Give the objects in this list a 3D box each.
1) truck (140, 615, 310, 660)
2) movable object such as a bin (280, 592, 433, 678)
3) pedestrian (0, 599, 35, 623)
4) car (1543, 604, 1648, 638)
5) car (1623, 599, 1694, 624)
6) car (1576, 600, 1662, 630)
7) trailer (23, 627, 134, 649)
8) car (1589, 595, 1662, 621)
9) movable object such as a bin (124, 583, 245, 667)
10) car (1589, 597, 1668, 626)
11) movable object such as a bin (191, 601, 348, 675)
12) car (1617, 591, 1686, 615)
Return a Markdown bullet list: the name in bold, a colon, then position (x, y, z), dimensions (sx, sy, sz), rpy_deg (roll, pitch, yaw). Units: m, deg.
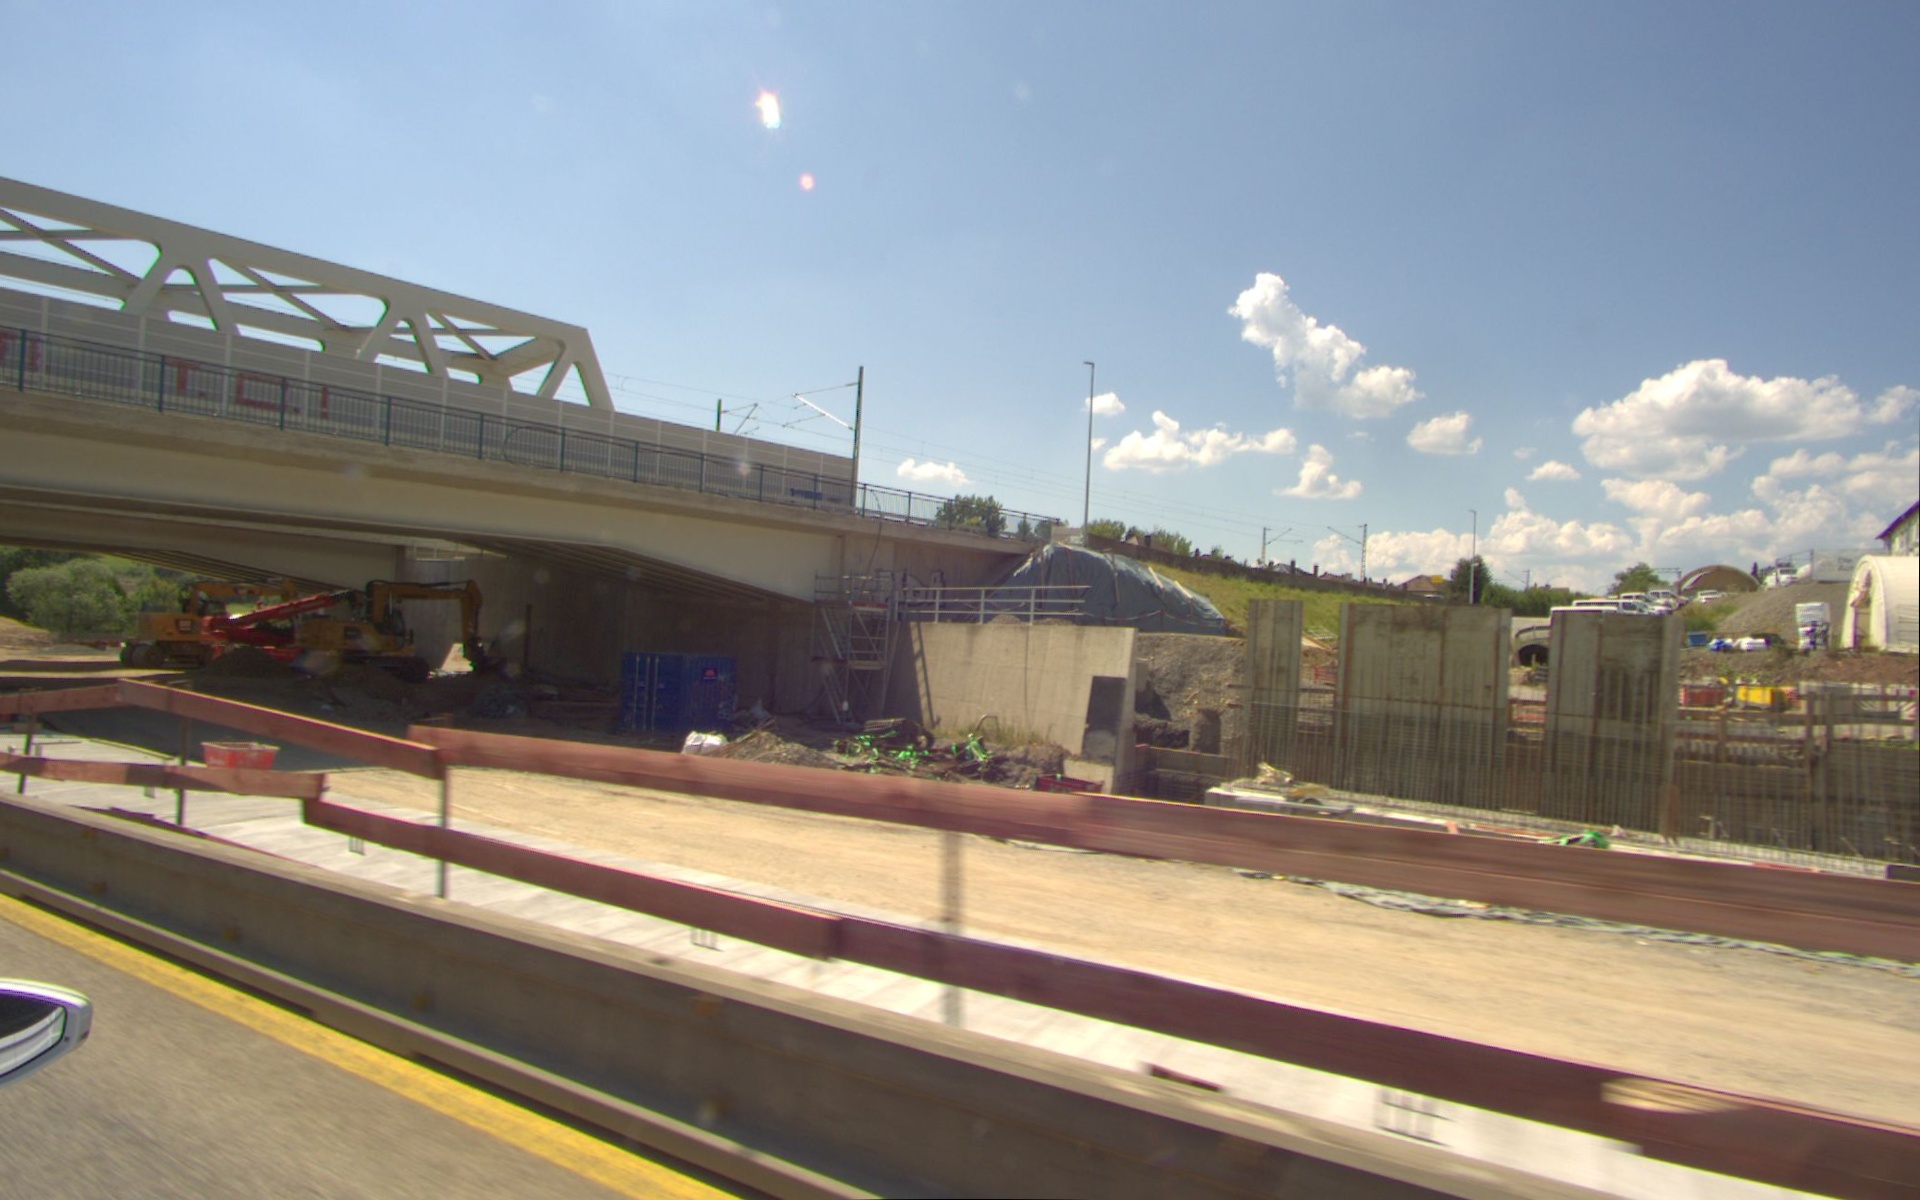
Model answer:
- **truck**: position (-37.592, 1.980, 51.465), dimensions (2.629, 2.099, 6.508), rpy_deg (0, -3, 35)
- **movable object such as a bin**: position (-24.853, 1.522, 41.395), dimensions (2.951, 3.327, 4.543), rpy_deg (-1, -4, 36)
- **pedestrian**: position (-84.069, 0.987, 88.728), dimensions (3.942, 2.039, 1.991), rpy_deg (-1, -2, 31)
- **car**: position (40.033, 1.363, 63.170), dimensions (5.499, 1.984, 1.988), rpy_deg (-2, -3, 36)
- **car**: position (59.489, 0.987, 85.333), dimensions (4.921, 1.984, 1.988), rpy_deg (-2, -3, 36)
- **car**: position (45.781, 1.064, 69.573), dimensions (4.921, 1.984, 1.988), rpy_deg (-2, -3, 36)
- **trailer**: position (-53.580, 2.329, 60.945), dimensions (2.026, 1.235, 4.707), rpy_deg (-1, -3, 31)
- **car**: position (54.165, 0.699, 81.551), dimensions (4.921, 1.984, 1.988), rpy_deg (-2, -3, 36)
- **movable object such as a bin**: position (-35.348, 1.232, 45.687), dimensions (2.872, 3.585, 3.863), rpy_deg (-2, -4, 43)
- **car**: position (50.491, 0.899, 75.676), dimensions (4.921, 1.984, 1.988), rpy_deg (-2, -3, 36)
- **movable object such as a bin**: position (-30.979, 1.781, 45.101), dimensions (2.464, 3.093, 5.228), rpy_deg (-1, -4, 36)
- **car**: position (60.966, 0.309, 88.319), dimensions (4.921, 1.984, 1.988), rpy_deg (-2, -3, 36)
